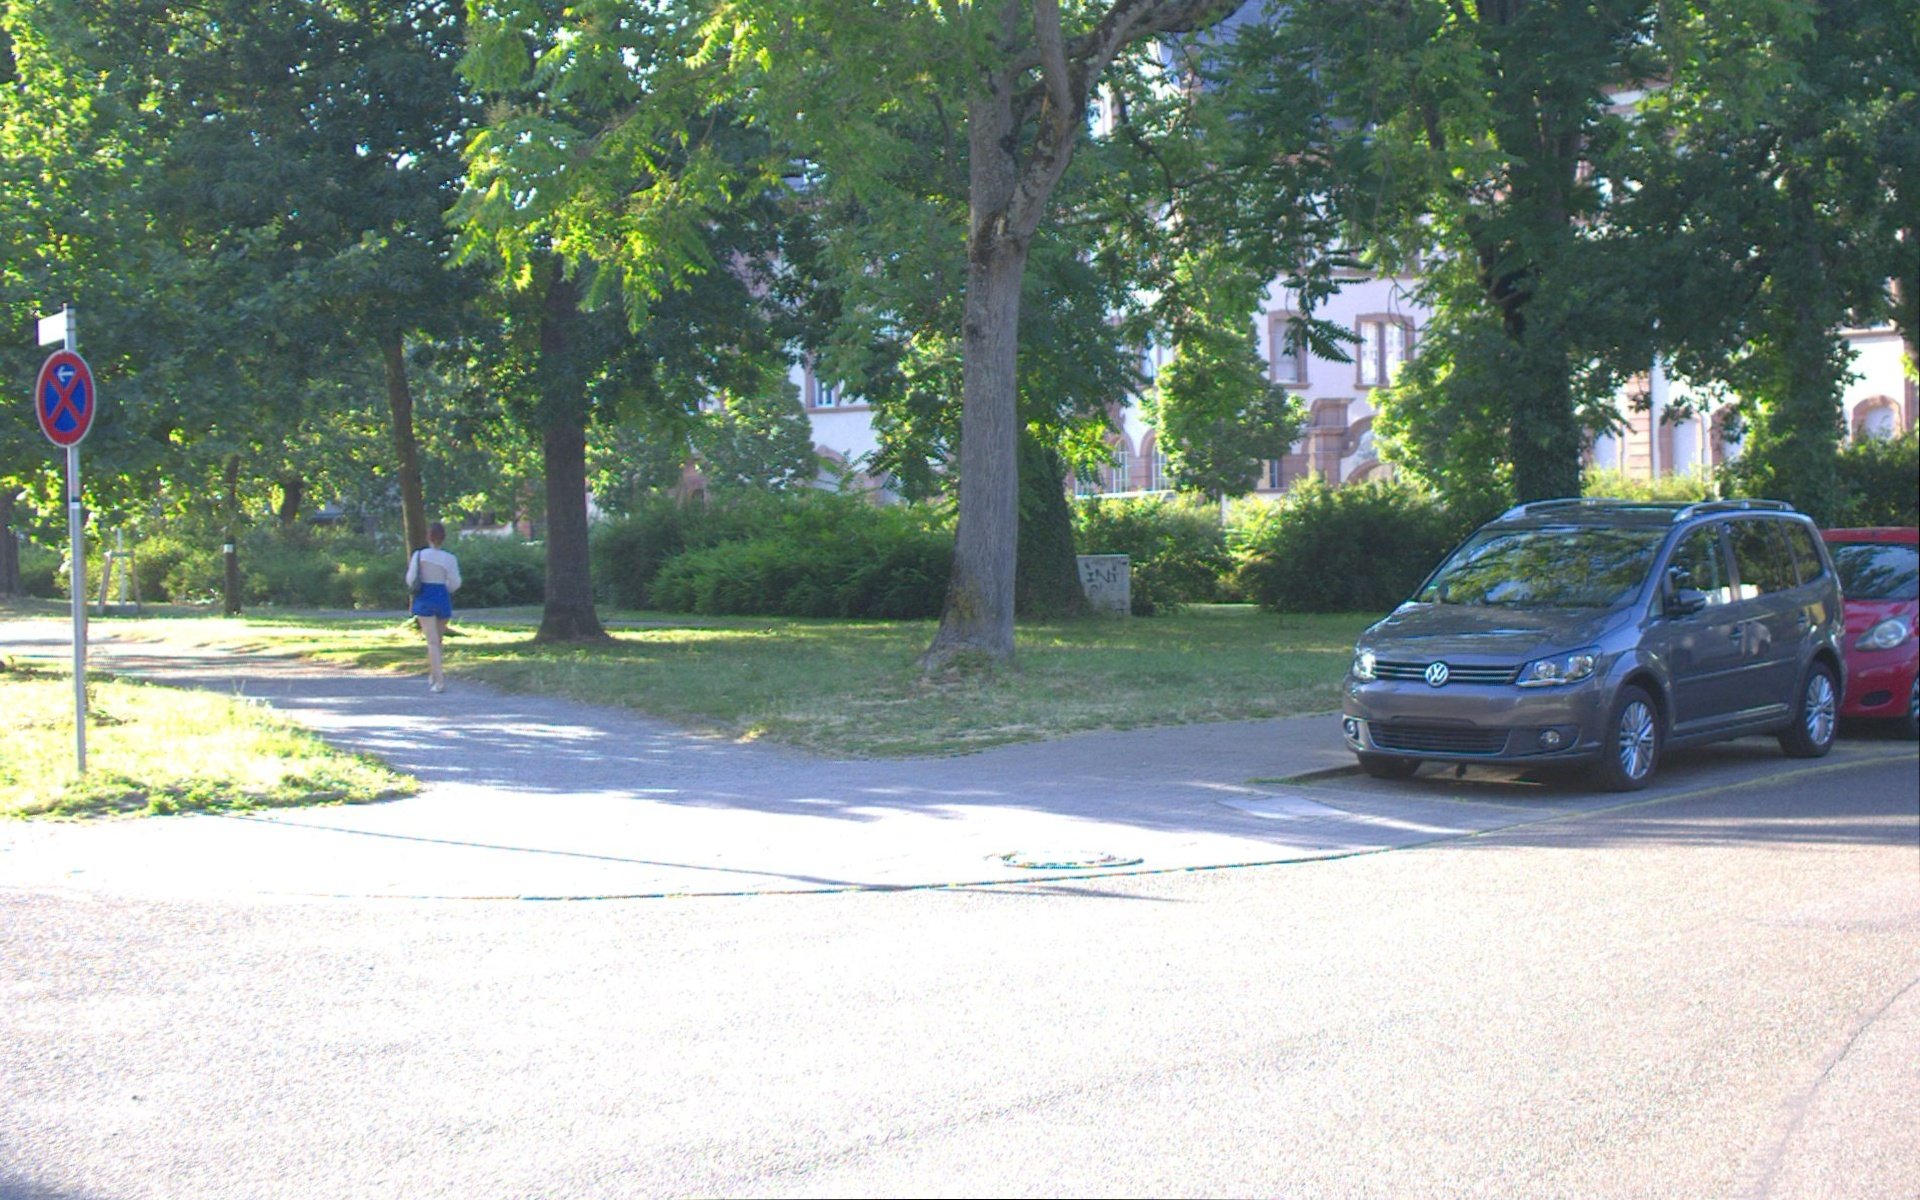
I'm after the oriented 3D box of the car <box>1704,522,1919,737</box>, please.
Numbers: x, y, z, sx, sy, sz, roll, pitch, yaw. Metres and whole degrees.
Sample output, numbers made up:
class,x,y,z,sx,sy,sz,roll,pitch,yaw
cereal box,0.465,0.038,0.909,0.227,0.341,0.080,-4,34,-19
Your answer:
class,x,y,z,sx,sy,sz,roll,pitch,yaw
car,6.830,0.159,25.135,1.390,1.418,3.419,2,3,37

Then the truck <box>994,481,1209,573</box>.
class,x,y,z,sx,sy,sz,roll,pitch,yaw
truck,4.697,-2.445,115.920,2.605,3.019,8.006,-1,1,-39

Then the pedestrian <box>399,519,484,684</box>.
class,x,y,z,sx,sy,sz,roll,pitch,yaw
pedestrian,-5.018,0.005,33.263,0.773,1.569,0.768,-1,1,-9

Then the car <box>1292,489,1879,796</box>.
class,x,y,z,sx,sy,sz,roll,pitch,yaw
car,3.961,0.166,21.236,1.805,1.670,4.311,2,3,37
